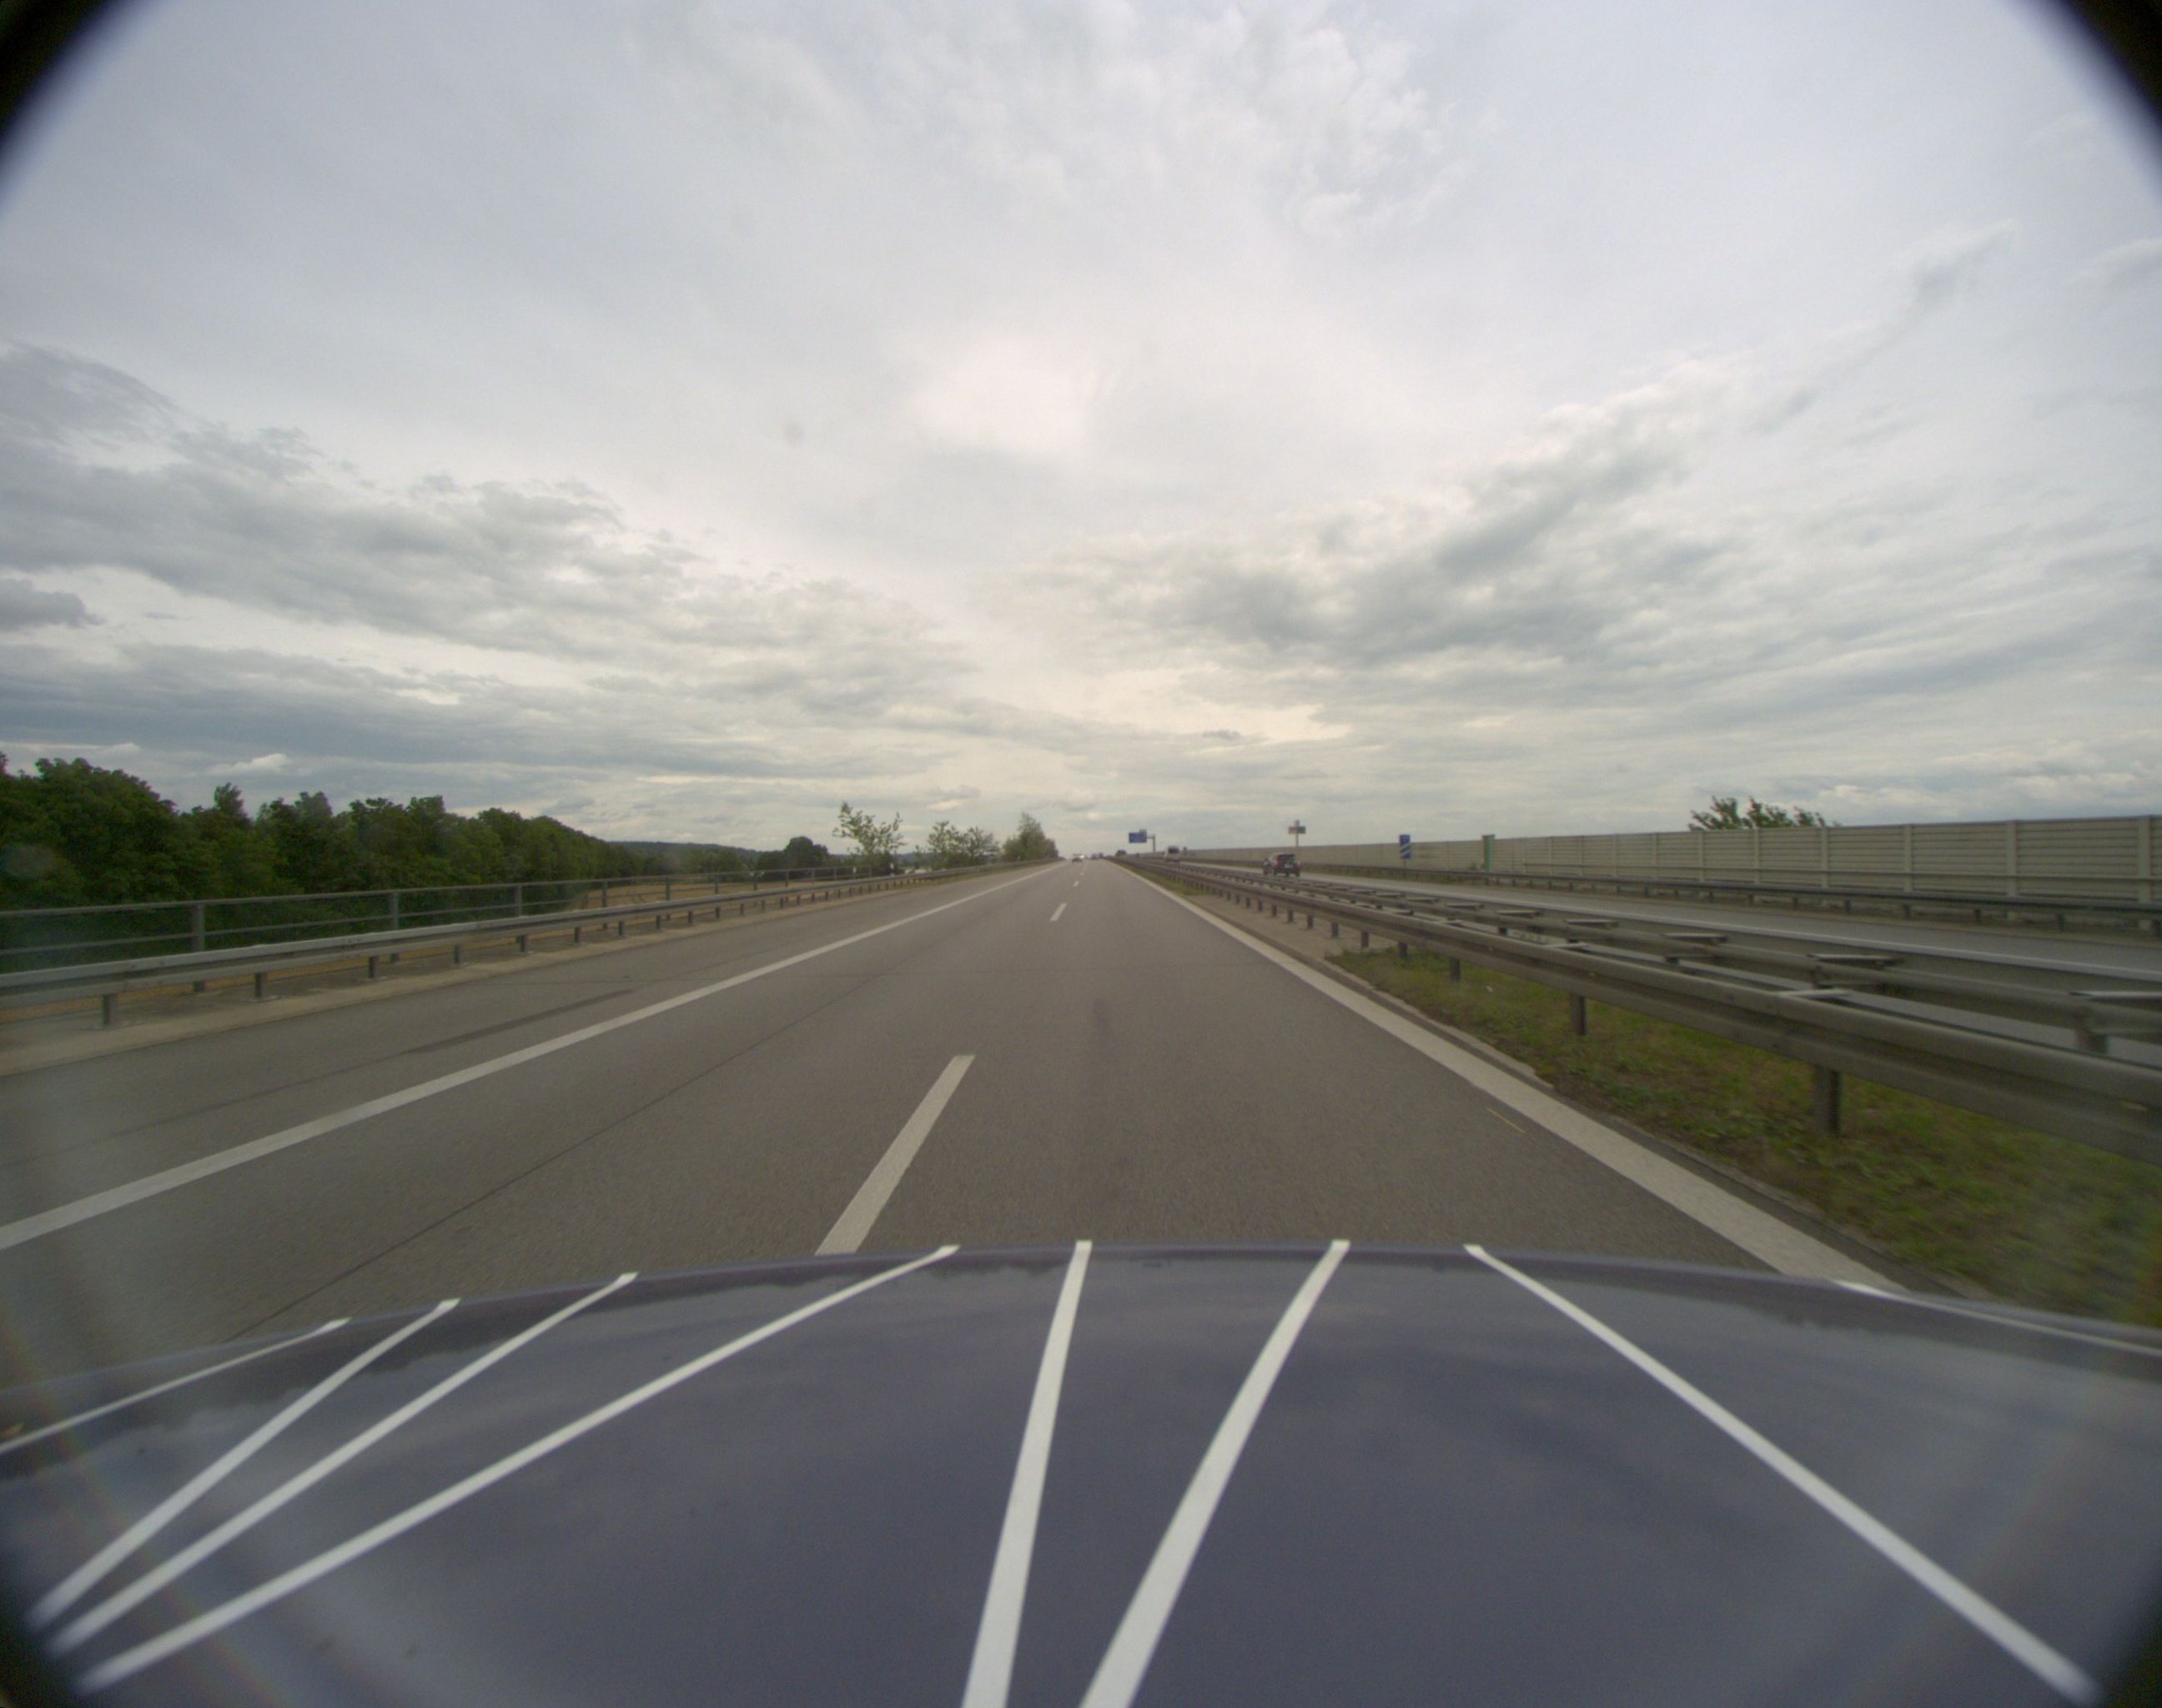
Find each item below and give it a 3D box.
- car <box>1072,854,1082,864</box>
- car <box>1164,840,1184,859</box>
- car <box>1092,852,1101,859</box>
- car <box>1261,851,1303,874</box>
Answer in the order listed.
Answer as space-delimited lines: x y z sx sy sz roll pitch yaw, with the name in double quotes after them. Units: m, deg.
-0.792 0.912 139.742 1.850 1.664 4.200 0 -1 -1 "car"
13.820 -0.677 113.213 2.075 2.588 6.288 2 1 1 "car"
3.540 0.377 173.837 1.850 1.664 4.200 0 -1 -1 "car"
12.920 0.514 49.006 1.674 1.378 4.000 1 1 1 "car"
